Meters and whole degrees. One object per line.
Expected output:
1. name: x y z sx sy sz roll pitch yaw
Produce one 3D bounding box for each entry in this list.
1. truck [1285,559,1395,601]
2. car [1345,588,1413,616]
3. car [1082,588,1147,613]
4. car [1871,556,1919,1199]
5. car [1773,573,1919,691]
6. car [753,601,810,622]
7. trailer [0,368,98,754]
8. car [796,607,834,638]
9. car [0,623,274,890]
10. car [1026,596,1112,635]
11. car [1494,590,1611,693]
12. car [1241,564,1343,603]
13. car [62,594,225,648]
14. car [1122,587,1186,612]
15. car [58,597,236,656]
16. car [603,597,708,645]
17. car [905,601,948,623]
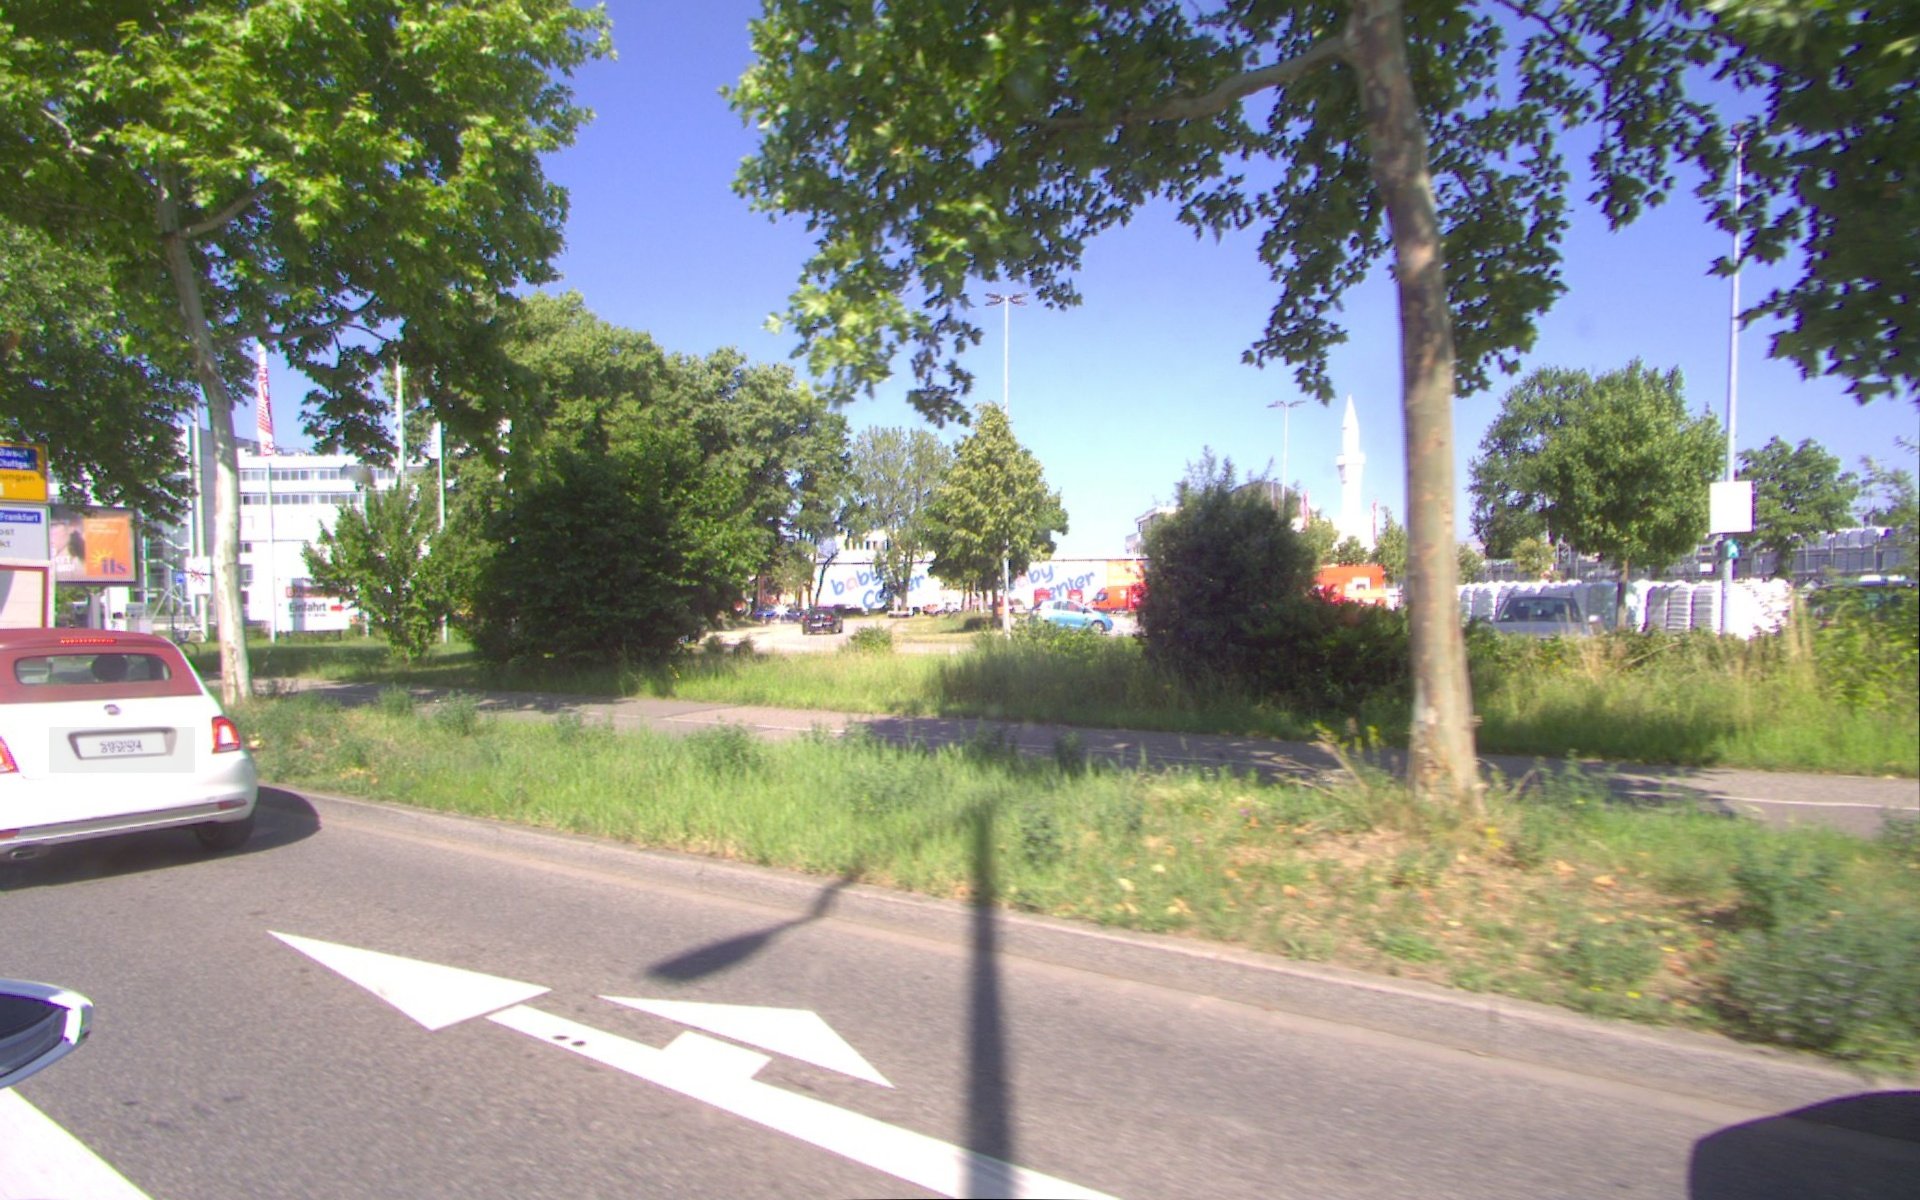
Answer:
1. truck: 30.342 -1.590 80.157 8.068 3.290 2.000 0 -1 -3
2. car: 31.752 0.138 75.977 4.304 2.039 2.000 0 -1 -3
3. car: 13.269 0.051 85.974 5.188 2.039 2.000 0 -1 -4
4. car: 3.602 0.673 0.378 4.499 1.643 1.916 -1 -2 32
5. car: 14.776 0.510 16.240 1.692 1.718 3.547 -1 -2 26
6. car: -13.378 0.899 75.223 3.922 1.505 1.722 0 -1 0
7. trailer: -14.888 -0.280 12.485 12.068 3.789 3.010 -1 -1 33
8. car: -7.523 1.193 51.733 1.743 1.534 3.722 0 -2 -12
9. car: -6.395 0.898 6.849 3.471 1.455 1.658 -1 -2 34
10. car: 4.565 0.665 42.384 3.387 1.591 1.745 0 -1 -2
11. car: 10.950 0.748 18.649 1.693 1.718 3.544 -1 -2 29
12. car: 21.278 -1.038 64.397 5.822 2.371 2.115 0 -1 1
13. car: -27.279 0.724 33.571 1.701 1.683 3.973 -1 -2 37
14. car: 15.488 -0.053 80.164 4.824 1.906 1.770 0 -1 1
15. car: -24.818 0.817 30.672 1.701 1.683 3.973 -1 -2 37
16. car: -11.374 0.802 37.583 3.681 1.738 1.766 0 -1 -14
17. car: -3.197 1.123 94.696 3.923 2.039 2.000 0 -1 -6
